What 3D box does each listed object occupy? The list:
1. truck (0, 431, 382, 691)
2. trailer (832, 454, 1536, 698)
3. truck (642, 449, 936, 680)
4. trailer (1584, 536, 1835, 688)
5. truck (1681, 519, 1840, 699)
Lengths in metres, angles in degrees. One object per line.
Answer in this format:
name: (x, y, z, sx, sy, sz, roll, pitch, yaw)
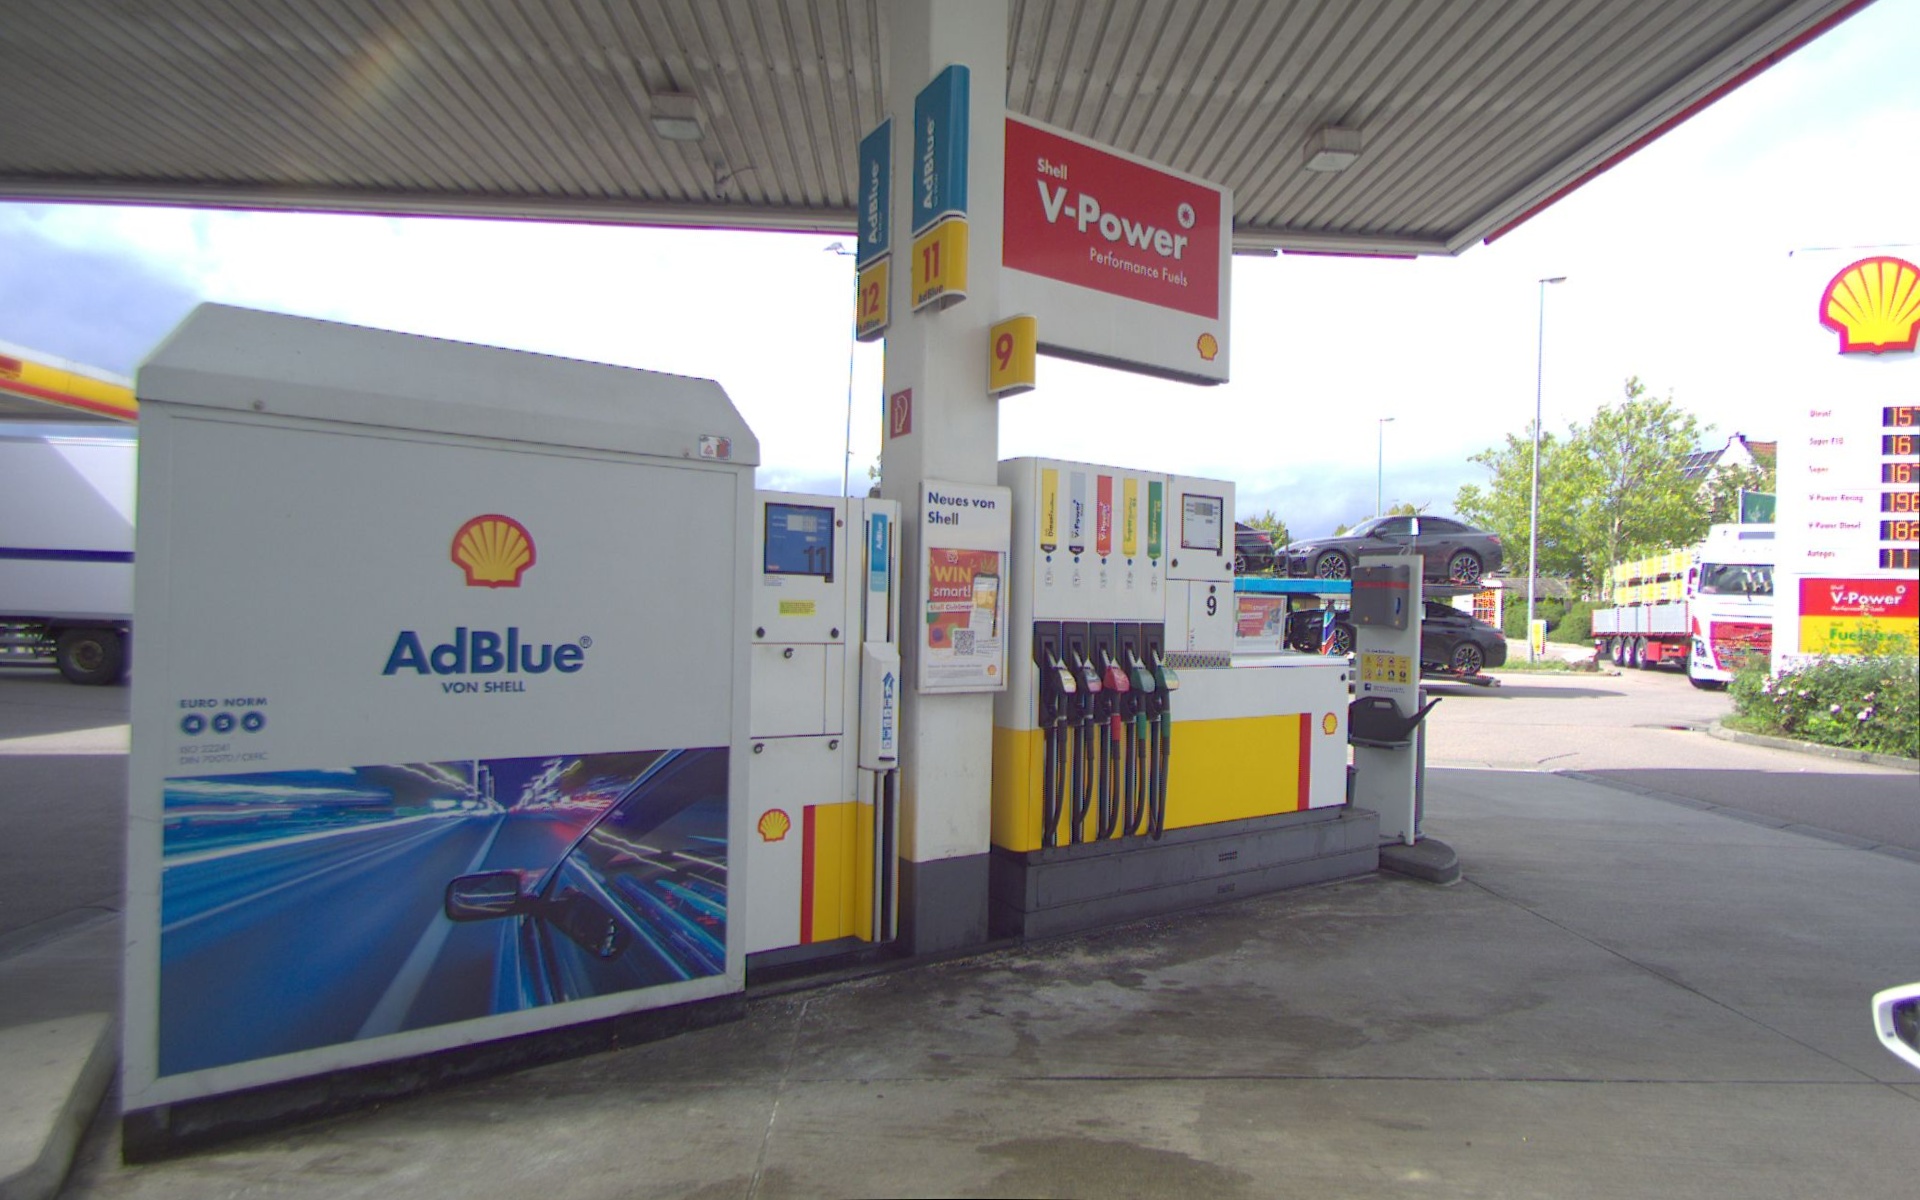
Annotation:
truck: (-17.306, -0.738, 17.505, 12.654, 4.092, 2.534, 2, 0, -3)
trailer: (4.521, -0.469, 21.588, 14.077, 4.481, 2.746, 2, 0, 0)
truck: (-3.454, -0.704, 21.550, 5.713, 4.479, 2.750, 2, 0, 0)
trailer: (22.909, 0.364, 31.791, 2.685, 3.826, 12.713, 2, 0, 20)
truck: (19.644, 0.229, 24.839, 2.698, 3.897, 5.895, 2, 0, 38)
